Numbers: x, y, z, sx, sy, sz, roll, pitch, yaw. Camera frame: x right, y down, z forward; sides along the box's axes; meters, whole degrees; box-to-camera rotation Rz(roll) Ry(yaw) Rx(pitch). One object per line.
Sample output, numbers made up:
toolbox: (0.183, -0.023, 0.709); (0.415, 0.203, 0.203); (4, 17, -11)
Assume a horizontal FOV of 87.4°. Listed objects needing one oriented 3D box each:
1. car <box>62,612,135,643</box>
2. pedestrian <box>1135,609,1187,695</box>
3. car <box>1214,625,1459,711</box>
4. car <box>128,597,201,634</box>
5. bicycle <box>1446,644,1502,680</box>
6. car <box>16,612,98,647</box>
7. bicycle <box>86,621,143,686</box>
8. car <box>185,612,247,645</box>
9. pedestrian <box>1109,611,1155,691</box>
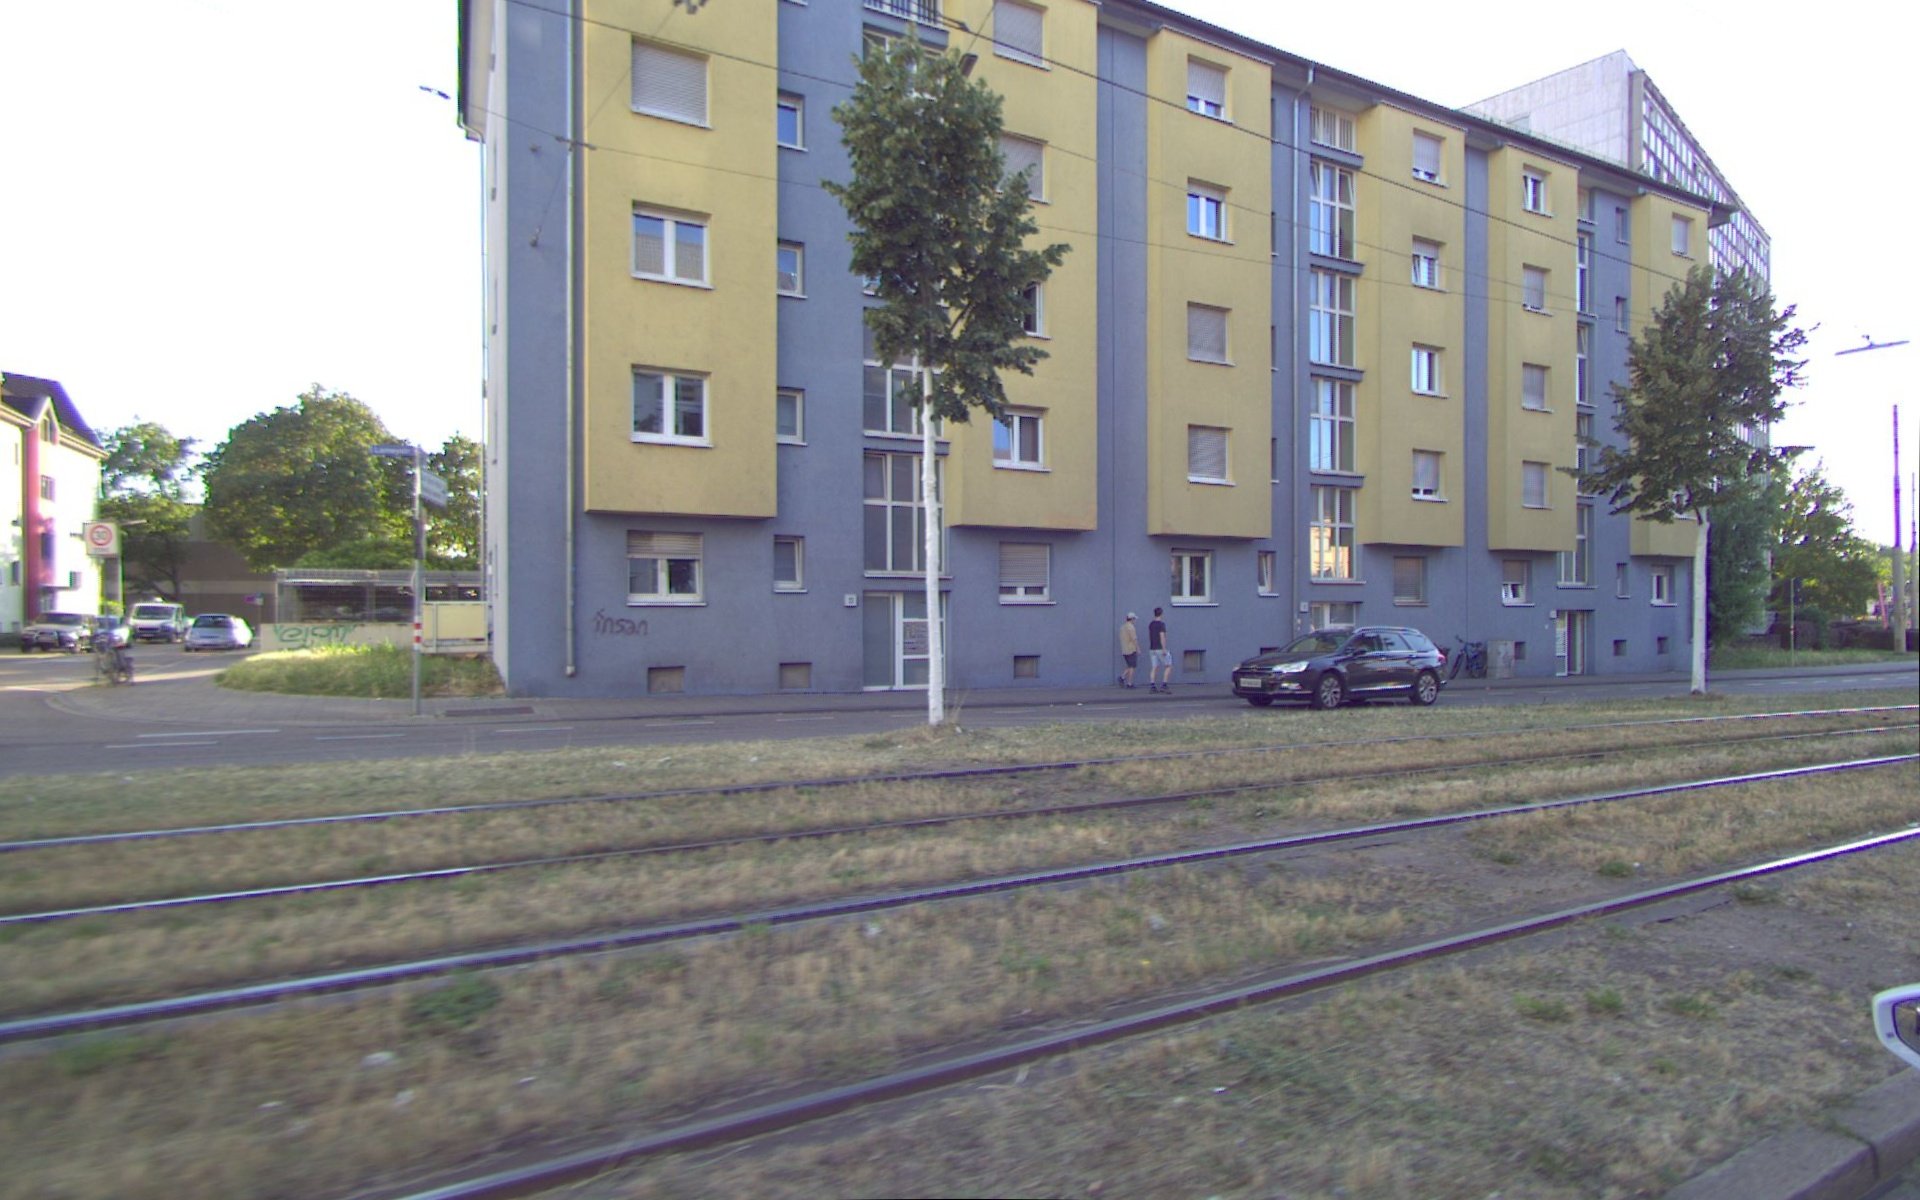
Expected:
car: (-39.948, 1.280, 46.669); (1.680, 1.378, 3.817); (1, -1, -27)
pedestrian: (4.349, 1.107, 21.737); (0.875, 1.797, 0.590); (0, 4, -29)
car: (7.273, 1.281, 19.306); (4.738, 1.488, 1.786); (2, -3, -29)
car: (-44.805, 0.878, 56.685); (1.933, 2.004, 5.674); (1, -1, -25)
bicycle: (14.529, 1.742, 28.380); (1.888, 0.972, 0.425); (1, -1, -28)
car: (-37.596, 1.212, 41.918); (1.681, 1.378, 3.815); (1, -1, -28)
bicycle: (-15.717, 0.966, 18.648); (1.935, 1.090, 0.600); (0, 2, 45)
car: (-31.830, 1.208, 43.043); (1.624, 1.349, 3.969); (1, -1, -29)
pedestrian: (3.824, 1.121, 22.323); (0.698, 1.718, 0.613); (0, 4, -29)
